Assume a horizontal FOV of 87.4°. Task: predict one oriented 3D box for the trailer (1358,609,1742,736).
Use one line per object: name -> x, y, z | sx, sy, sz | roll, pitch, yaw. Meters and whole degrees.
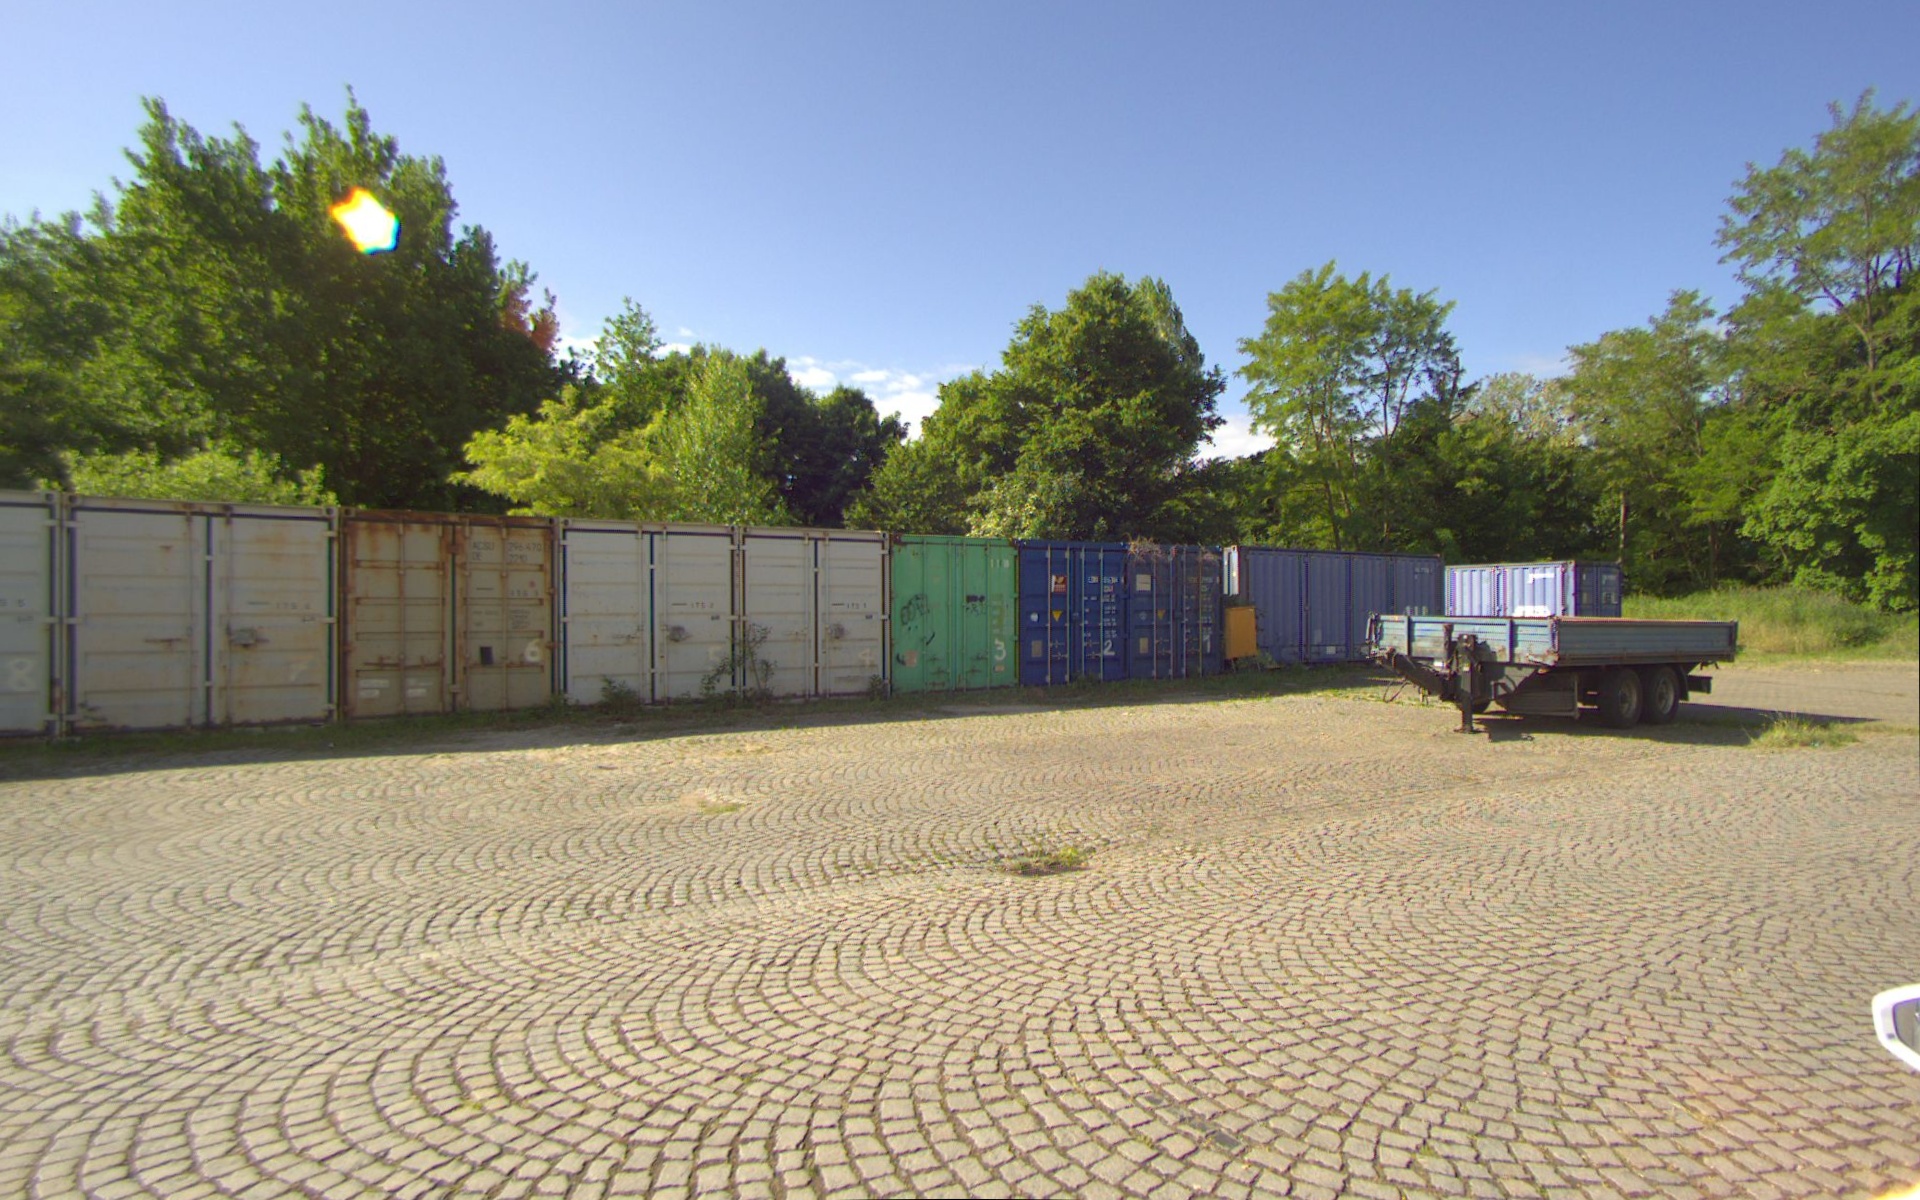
trailer -> 8.166, 0.869, 13.870 | 4.806, 1.433, 2.627 | 1, 0, -31
